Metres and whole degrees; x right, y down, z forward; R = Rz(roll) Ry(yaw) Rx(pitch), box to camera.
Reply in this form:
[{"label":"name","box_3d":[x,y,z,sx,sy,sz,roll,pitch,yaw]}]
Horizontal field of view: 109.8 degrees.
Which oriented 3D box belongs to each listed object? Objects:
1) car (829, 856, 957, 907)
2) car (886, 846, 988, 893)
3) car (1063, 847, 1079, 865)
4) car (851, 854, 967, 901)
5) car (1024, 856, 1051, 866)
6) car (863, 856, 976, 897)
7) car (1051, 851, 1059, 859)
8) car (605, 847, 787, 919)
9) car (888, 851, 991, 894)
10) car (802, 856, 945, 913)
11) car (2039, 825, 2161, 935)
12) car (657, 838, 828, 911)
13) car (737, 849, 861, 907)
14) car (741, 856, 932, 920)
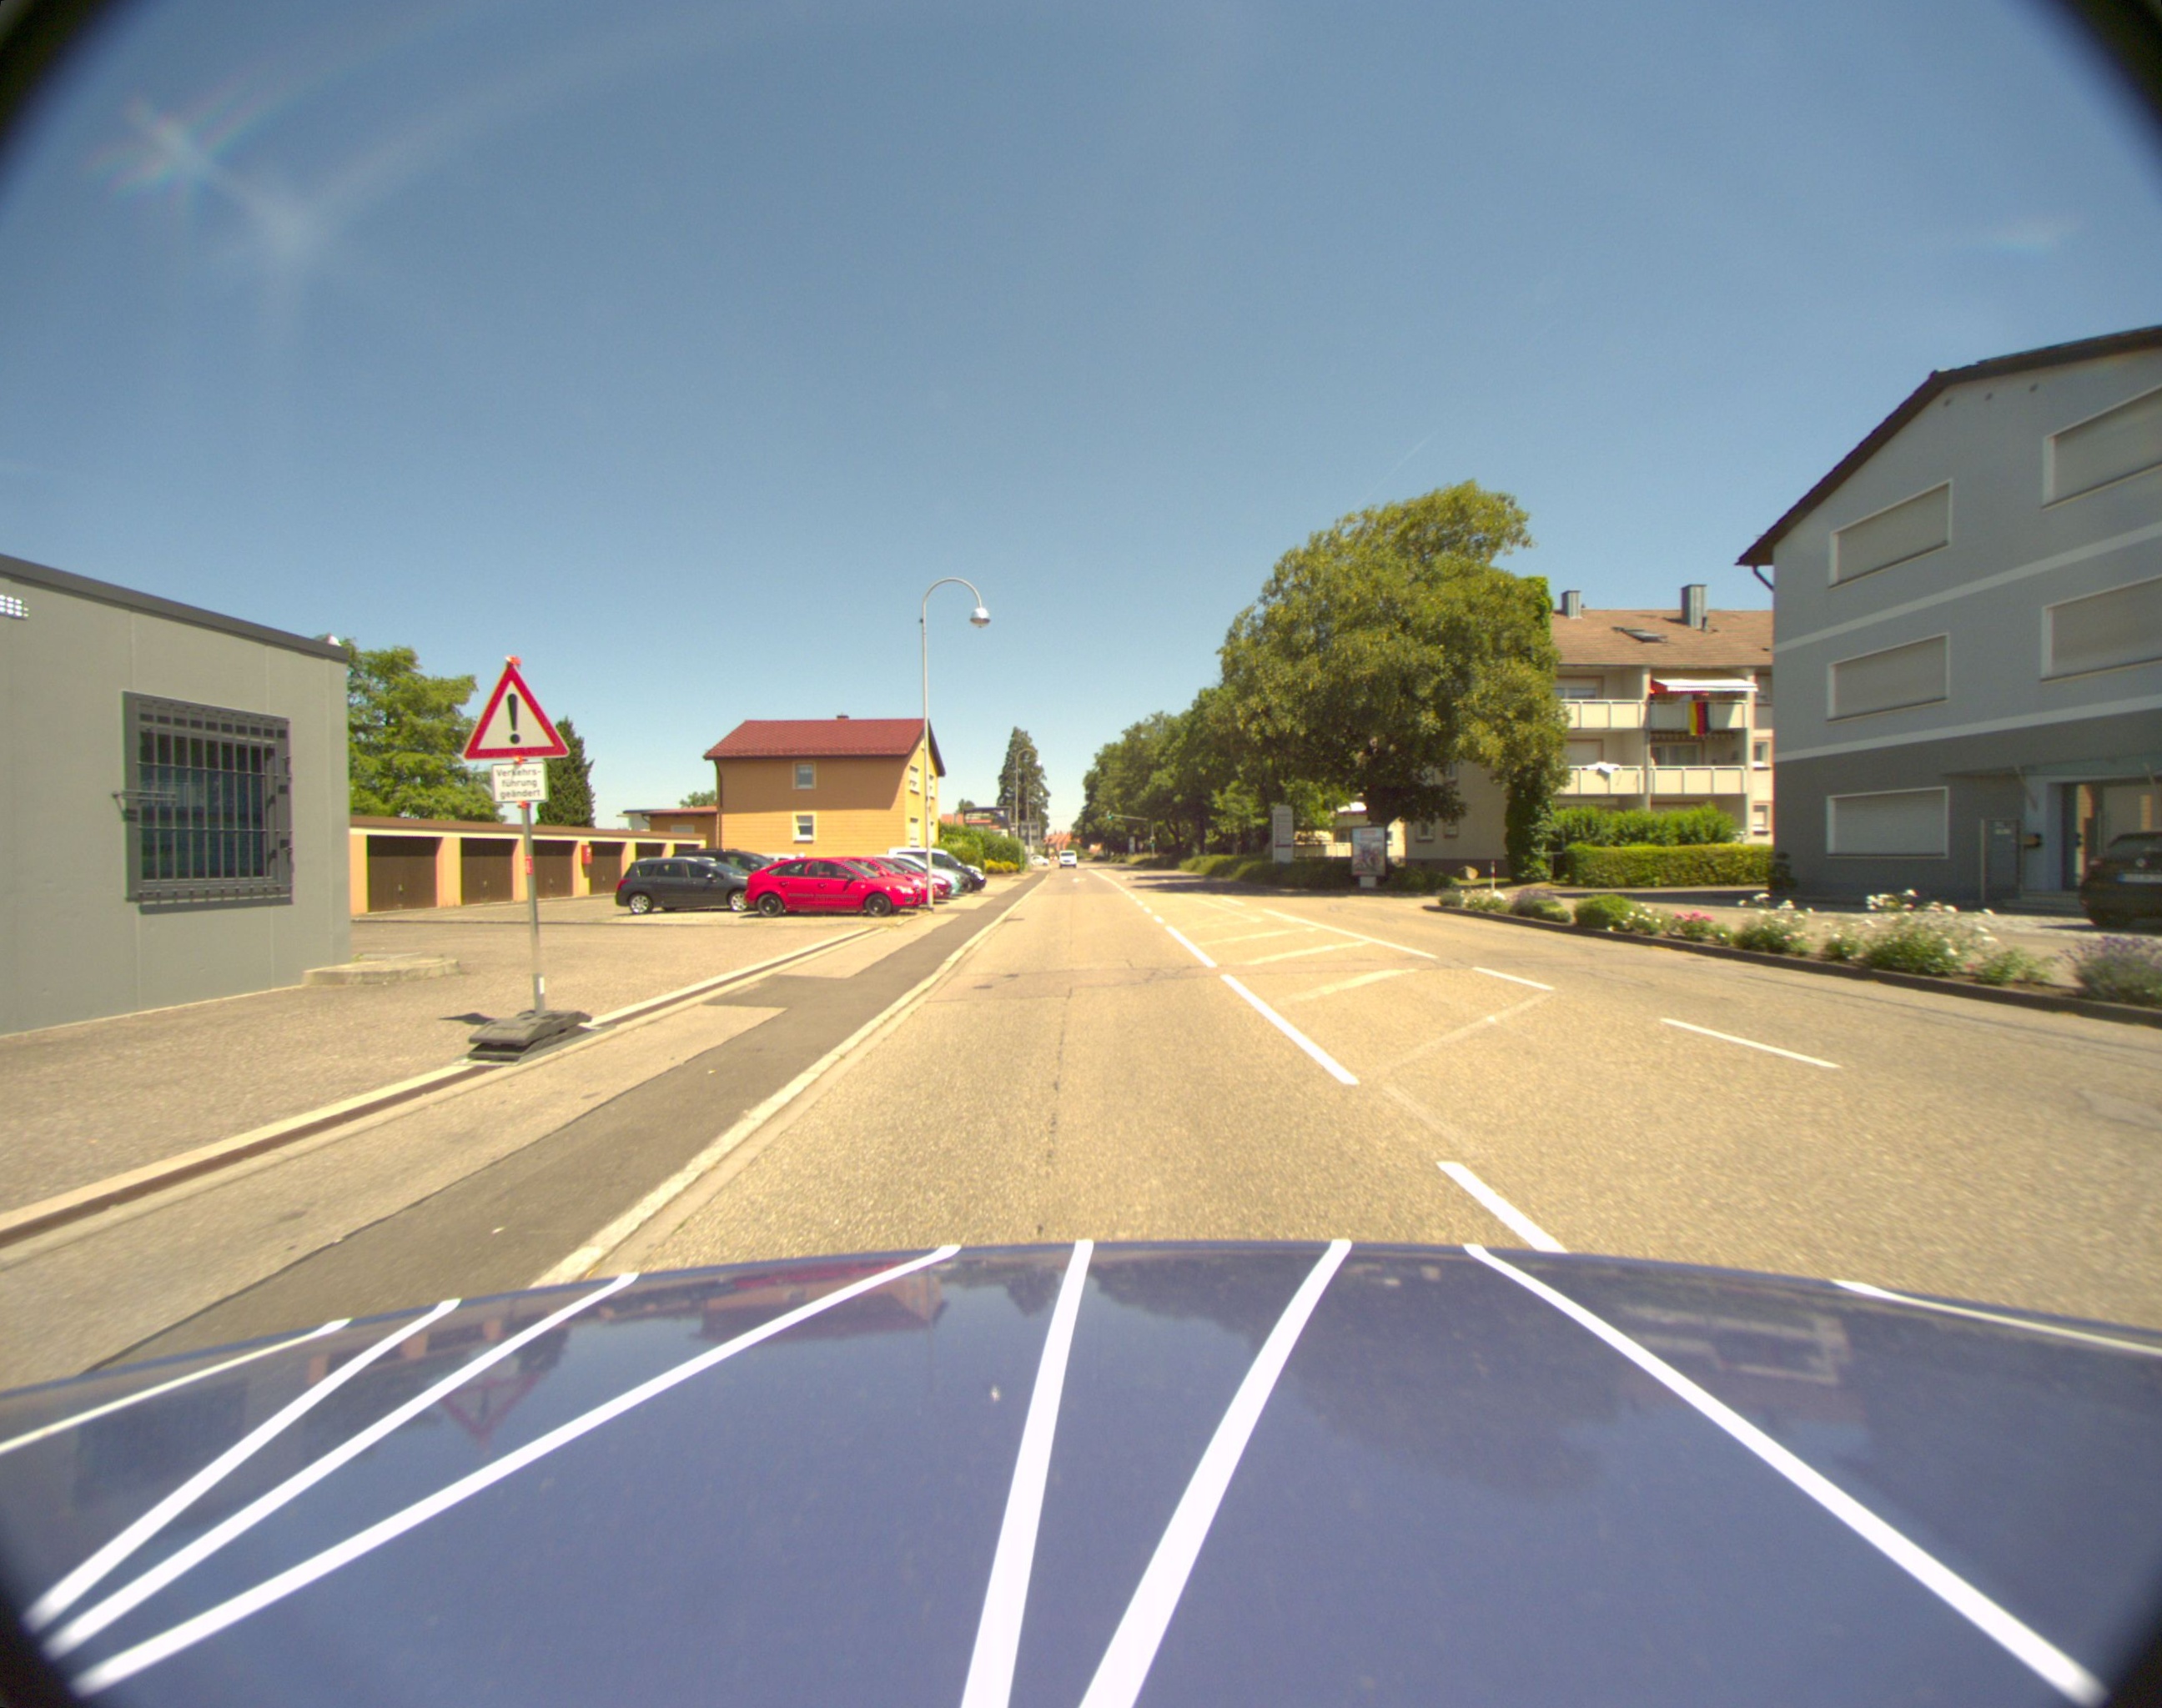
[{"label":"car","box_3d":[-5.877,0.849,24.143,3.695,1.557,1.749,0,0,-4]},{"label":"car","box_3d":[-6.153,0.645,32.848,4.146,1.927,1.807,-1,0,-6]},{"label":"car","box_3d":[-1.175,0.236,86.615,1.796,1.904,3.639,-1,1,-2]},{"label":"car","box_3d":[-5.899,0.798,26.410,3.694,1.557,1.641,0,0,-2]},{"label":"car","box_3d":[-5.910,0.954,103.906,3.638,1.375,1.627,-1,1,1]},{"label":"car","box_3d":[-5.997,0.817,28.496,3.802,1.501,1.833,0,0,1]},{"label":"car","box_3d":[-7.123,0.221,206.578,1.862,2.002,4.000,-1,0,1]},{"label":"car","box_3d":[-10.685,0.781,21.301,4.050,1.658,1.782,-4,1,-1]},{"label":"car","box_3d":[-5.670,0.715,30.758,3.886,1.671,1.763,0,0,-3]},{"label":"car","box_3d":[-5.869,0.834,21.836,3.695,1.557,1.708,0,0,-3]},{"label":"car","box_3d":[17.056,0.332,11.129,3.569,1.556,1.969,-1,1,0]},{"label":"car","box_3d":[-10.462,0.611,23.765,4.352,1.885,1.971,-4,1,-3]},{"label":"car","box_3d":[-10.570,0.874,28.657,3.903,1.827,1.688,-4,1,1]},{"label":"car","box_3d":[-6.102,0.830,19.367,4.235,1.526,1.958,0,0,-1]}]
